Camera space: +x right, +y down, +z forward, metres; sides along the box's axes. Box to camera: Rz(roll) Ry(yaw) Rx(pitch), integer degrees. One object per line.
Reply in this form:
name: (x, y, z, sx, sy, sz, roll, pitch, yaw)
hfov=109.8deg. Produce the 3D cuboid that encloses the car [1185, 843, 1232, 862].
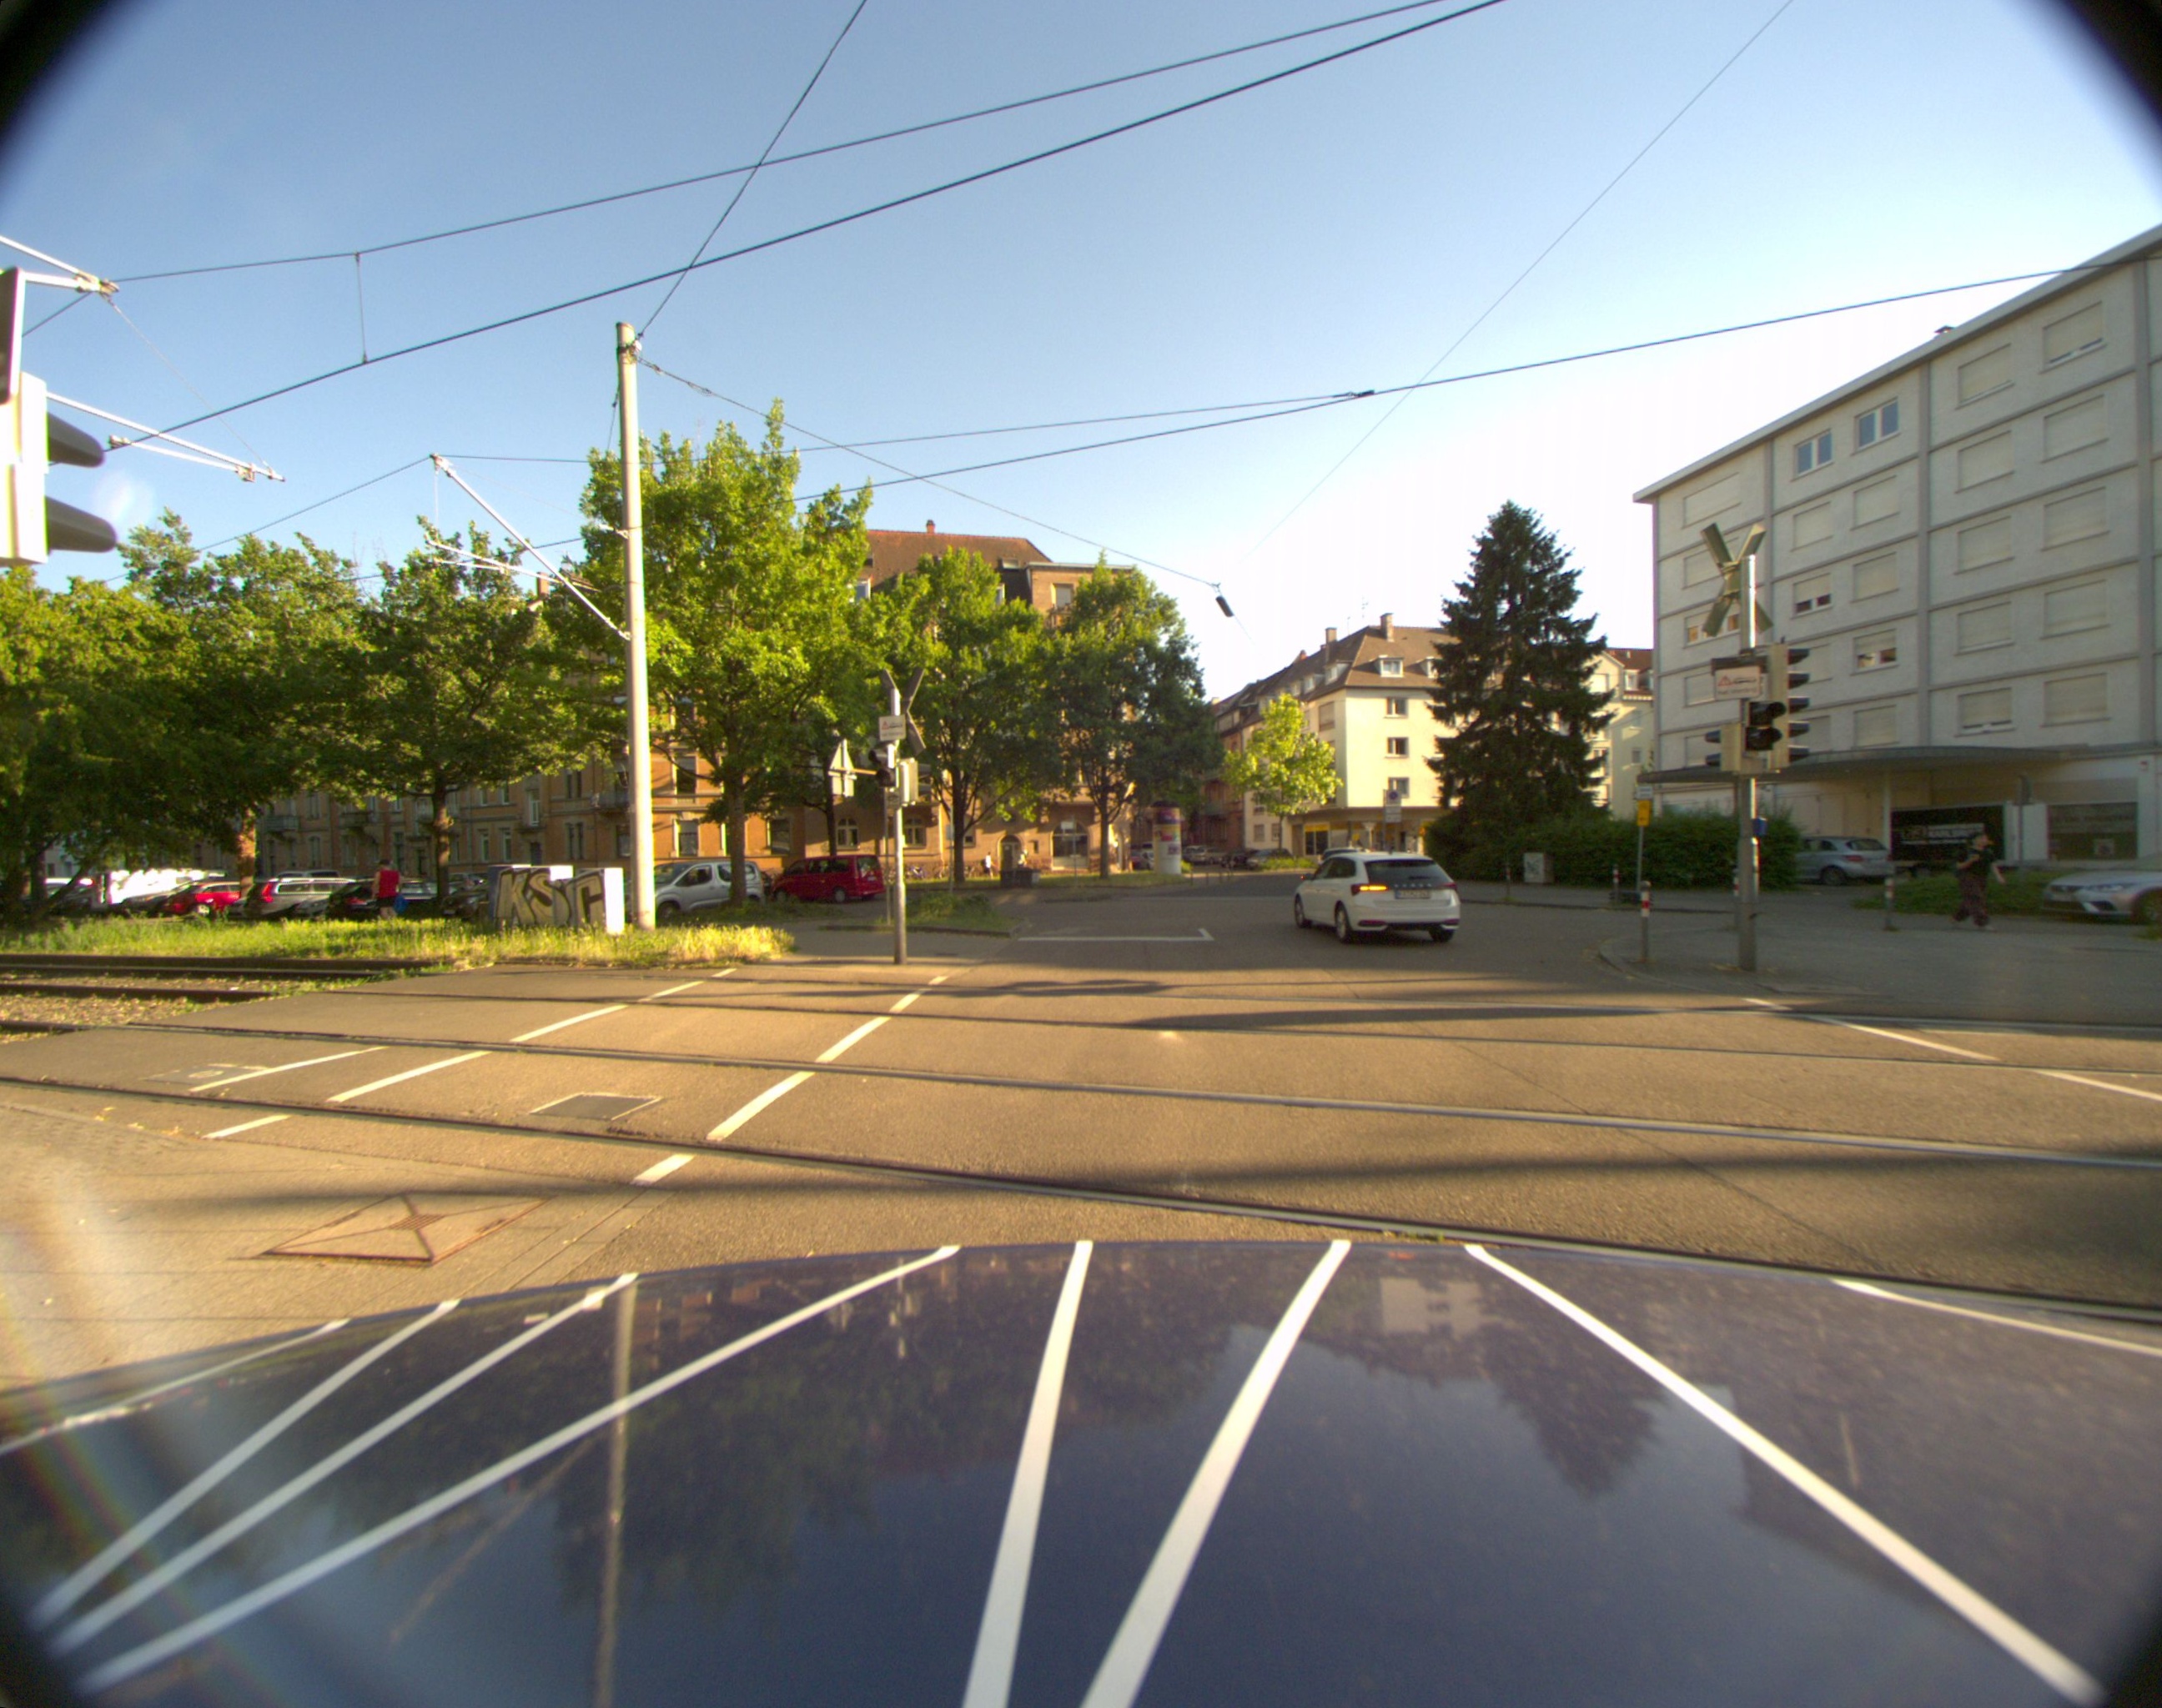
car: (11.143, -0.154, 66.153, 4.007, 1.496, 1.868, -2, 1, -40)

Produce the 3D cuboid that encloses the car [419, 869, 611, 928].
car: (-18.105, 1.336, 24.594, 1.945, 1.563, 4.561, 0, 1, 26)

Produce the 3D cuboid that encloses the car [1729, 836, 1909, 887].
car: (24.730, 0.220, 25.681, 2.000, 1.524, 3.997, -1, 1, -7)

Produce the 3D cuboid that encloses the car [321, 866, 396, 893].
car: (-43.128, 1.510, 45.370, 3.879, 1.430, 1.771, -1, 3, 23)

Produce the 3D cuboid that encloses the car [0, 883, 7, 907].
car: (-68.650, 2.589, 45.947, 1.680, 1.480, 4.007, -1, 0, 24)

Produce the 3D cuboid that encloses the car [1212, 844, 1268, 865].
car: (12.641, 0.057, 60.314, 4.005, 1.559, 1.869, -2, 1, -25)

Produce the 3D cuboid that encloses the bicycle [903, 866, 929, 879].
bicycle: (-9.920, 1.133, 45.730, 1.511, 0.728, 0.368, -2, 1, -13)

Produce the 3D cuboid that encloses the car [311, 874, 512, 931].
car: (-22.678, 1.571, 25.996, 1.995, 1.563, 4.724, 0, 1, 26)

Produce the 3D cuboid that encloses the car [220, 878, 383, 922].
car: (-29.804, 1.721, 29.213, 1.680, 1.452, 4.007, -1, 0, 24)

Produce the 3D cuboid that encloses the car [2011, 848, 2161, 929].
car: (20.636, 0.608, 14.081, 3.991, 1.437, 1.719, -1, 0, 19)

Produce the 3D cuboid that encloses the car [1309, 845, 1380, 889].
car: (9.896, 0.453, 28.311, 1.919, 1.442, 4.303, -2, 0, 26)

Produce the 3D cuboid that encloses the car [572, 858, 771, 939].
car: (-11.218, 1.121, 21.213, 1.945, 1.903, 4.561, 0, 1, 26)

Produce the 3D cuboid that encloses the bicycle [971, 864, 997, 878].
bicycle: (-5.982, 1.044, 46.685, 1.511, 0.728, 0.368, -3, 1, -13)

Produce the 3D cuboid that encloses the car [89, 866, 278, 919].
car: (-39.033, 1.612, 33.230, 2.150, 2.026, 4.868, -1, 0, 24)

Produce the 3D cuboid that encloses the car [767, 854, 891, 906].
car: (-10.387, 1.062, 31.305, 4.761, 1.923, 1.784, -1, 3, 23)

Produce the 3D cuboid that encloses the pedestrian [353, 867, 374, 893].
pedestrian: (-48.439, 1.760, 51.282, 0.720, 1.709, 0.676, -1, 3, 24)

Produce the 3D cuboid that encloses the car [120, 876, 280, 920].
car: (-36.688, 1.782, 31.782, 1.762, 1.570, 4.006, -1, 0, 21)

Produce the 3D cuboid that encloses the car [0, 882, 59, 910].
car: (-61.673, 2.437, 43.175, 1.680, 1.480, 4.007, -1, 0, 24)

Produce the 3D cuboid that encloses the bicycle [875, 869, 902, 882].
bicycle: (-11.421, 1.253, 45.012, 1.511, 0.728, 0.368, -2, 1, -13)

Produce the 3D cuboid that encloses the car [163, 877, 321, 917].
car: (-34.398, 1.713, 31.291, 1.680, 1.415, 4.007, -1, 0, 24)

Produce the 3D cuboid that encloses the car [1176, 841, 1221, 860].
car: (10.726, -0.335, 69.322, 4.007, 1.626, 1.868, -2, 1, -40)

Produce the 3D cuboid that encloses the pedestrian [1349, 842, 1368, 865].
pedestrian: (19.853, -0.029, 54.379, 0.964, 1.560, 0.890, -2, 1, -10)

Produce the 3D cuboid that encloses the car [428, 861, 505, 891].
car: (-33.455, 1.207, 41.375, 3.700, 1.467, 1.691, -1, 3, 24)

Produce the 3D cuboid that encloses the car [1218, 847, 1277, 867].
car: (12.487, 0.207, 56.997, 4.005, 1.392, 1.869, -2, 1, -28)

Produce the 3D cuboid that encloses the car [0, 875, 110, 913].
car: (-54.445, 2.059, 39.846, 1.680, 1.821, 4.007, -1, 0, 24)

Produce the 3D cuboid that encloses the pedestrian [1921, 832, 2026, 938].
pedestrian: (15.248, 0.507, 13.013, 0.869, 1.726, 0.832, -1, 2, 22)

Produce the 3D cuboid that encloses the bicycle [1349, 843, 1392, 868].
bicycle: (17.388, 0.057, 45.701, 0.881, 1.437, 3.376, -1, 1, -8)

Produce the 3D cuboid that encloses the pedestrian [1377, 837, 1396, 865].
pedestrian: (21.406, -0.209, 53.222, 0.891, 1.864, 0.851, -2, 1, -11)

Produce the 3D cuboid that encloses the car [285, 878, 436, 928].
car: (-25.174, 1.669, 26.661, 1.714, 1.505, 3.415, -2, 0, 26)

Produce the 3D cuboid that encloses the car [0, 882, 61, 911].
car: (-59.570, 2.380, 41.693, 1.680, 1.480, 4.007, -1, 0, 24)

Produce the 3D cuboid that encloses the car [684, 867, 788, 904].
car: (-15.288, 1.399, 33.685, 4.260, 1.426, 1.784, -1, 3, 25)

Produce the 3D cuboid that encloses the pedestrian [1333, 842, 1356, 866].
pedestrian: (18.640, -0.005, 53.699, 1.215, 1.657, 0.963, -2, 1, -10)

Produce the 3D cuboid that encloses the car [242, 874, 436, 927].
car: (-27.417, 1.644, 28.293, 1.995, 1.563, 4.724, 0, 1, 26)

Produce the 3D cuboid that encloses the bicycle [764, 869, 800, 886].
bicycle: (-17.442, 1.367, 44.369, 1.899, 0.843, 0.525, -2, 1, -12)

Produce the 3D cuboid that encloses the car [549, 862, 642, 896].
car: (-23.830, 1.229, 37.305, 4.260, 1.467, 1.784, -1, 3, 25)

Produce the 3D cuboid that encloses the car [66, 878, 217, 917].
car: (-42.988, 1.943, 34.888, 1.680, 1.544, 4.007, -1, 0, 24)

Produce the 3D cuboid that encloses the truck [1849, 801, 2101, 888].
truck: (28.762, -0.300, 24.761, 2.000, 2.520, 4.967, -1, 1, -11)

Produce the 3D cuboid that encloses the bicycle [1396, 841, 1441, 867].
bicycle: (20.746, -0.026, 46.799, 0.881, 1.437, 3.376, -1, 3, -8)

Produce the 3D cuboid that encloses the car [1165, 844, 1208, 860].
car: (10.029, -0.171, 72.123, 4.007, 1.392, 1.868, -2, 1, -40)

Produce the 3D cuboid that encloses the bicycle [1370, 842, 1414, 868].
bicycle: (18.725, 0.040, 45.848, 0.881, 1.437, 3.376, -1, 1, -8)

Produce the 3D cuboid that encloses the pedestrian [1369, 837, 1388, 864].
pedestrian: (21.140, -0.236, 54.005, 0.891, 1.864, 0.851, -2, 1, -11)

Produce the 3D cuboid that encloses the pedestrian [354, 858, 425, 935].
pedestrian: (-17.768, 1.073, 19.523, 1.147, 1.907, 0.906, -1, 1, 24)

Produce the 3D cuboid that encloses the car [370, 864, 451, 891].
car: (-38.419, 1.340, 43.549, 4.279, 1.376, 1.771, -1, 3, 24)

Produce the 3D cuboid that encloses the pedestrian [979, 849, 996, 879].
pedestrian: (-5.409, 0.569, 43.928, 0.912, 1.708, 0.675, -2, 1, -10)

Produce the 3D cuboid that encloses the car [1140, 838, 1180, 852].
car: (8.360, -1.001, 80.301, 4.007, 1.392, 1.868, -2, 1, -40)

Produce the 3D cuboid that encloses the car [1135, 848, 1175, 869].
car: (5.364, 0.313, 55.495, 1.873, 1.392, 3.996, -1, 0, -9)

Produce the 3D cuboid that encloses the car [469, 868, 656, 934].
car: (-15.744, 1.334, 23.394, 1.946, 1.681, 4.455, 0, 1, 18)

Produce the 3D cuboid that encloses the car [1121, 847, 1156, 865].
car: (4.511, 0.137, 60.411, 1.873, 1.392, 3.996, -1, 0, -9)

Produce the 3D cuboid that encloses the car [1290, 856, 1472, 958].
car: (4.980, 0.785, 13.242, 1.706, 1.448, 4.063, -1, 0, 3)

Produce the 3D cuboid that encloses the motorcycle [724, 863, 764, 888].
motorcycle: (-19.391, 1.213, 43.764, 1.899, 1.345, 0.809, -2, 1, -12)

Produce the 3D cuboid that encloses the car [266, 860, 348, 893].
car: (-48.348, 1.428, 47.462, 4.714, 1.872, 1.915, -1, 3, 23)

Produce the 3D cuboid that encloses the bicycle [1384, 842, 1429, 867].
bicycle: (19.763, 0.012, 46.245, 0.881, 1.437, 3.376, -1, 1, -8)

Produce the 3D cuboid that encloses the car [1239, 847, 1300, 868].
car: (13.569, 0.257, 54.774, 4.005, 1.392, 1.869, -2, 1, -28)

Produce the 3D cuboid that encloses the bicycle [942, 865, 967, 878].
bicycle: (-7.736, 1.074, 46.424, 1.511, 0.728, 0.368, -2, 1, -13)
